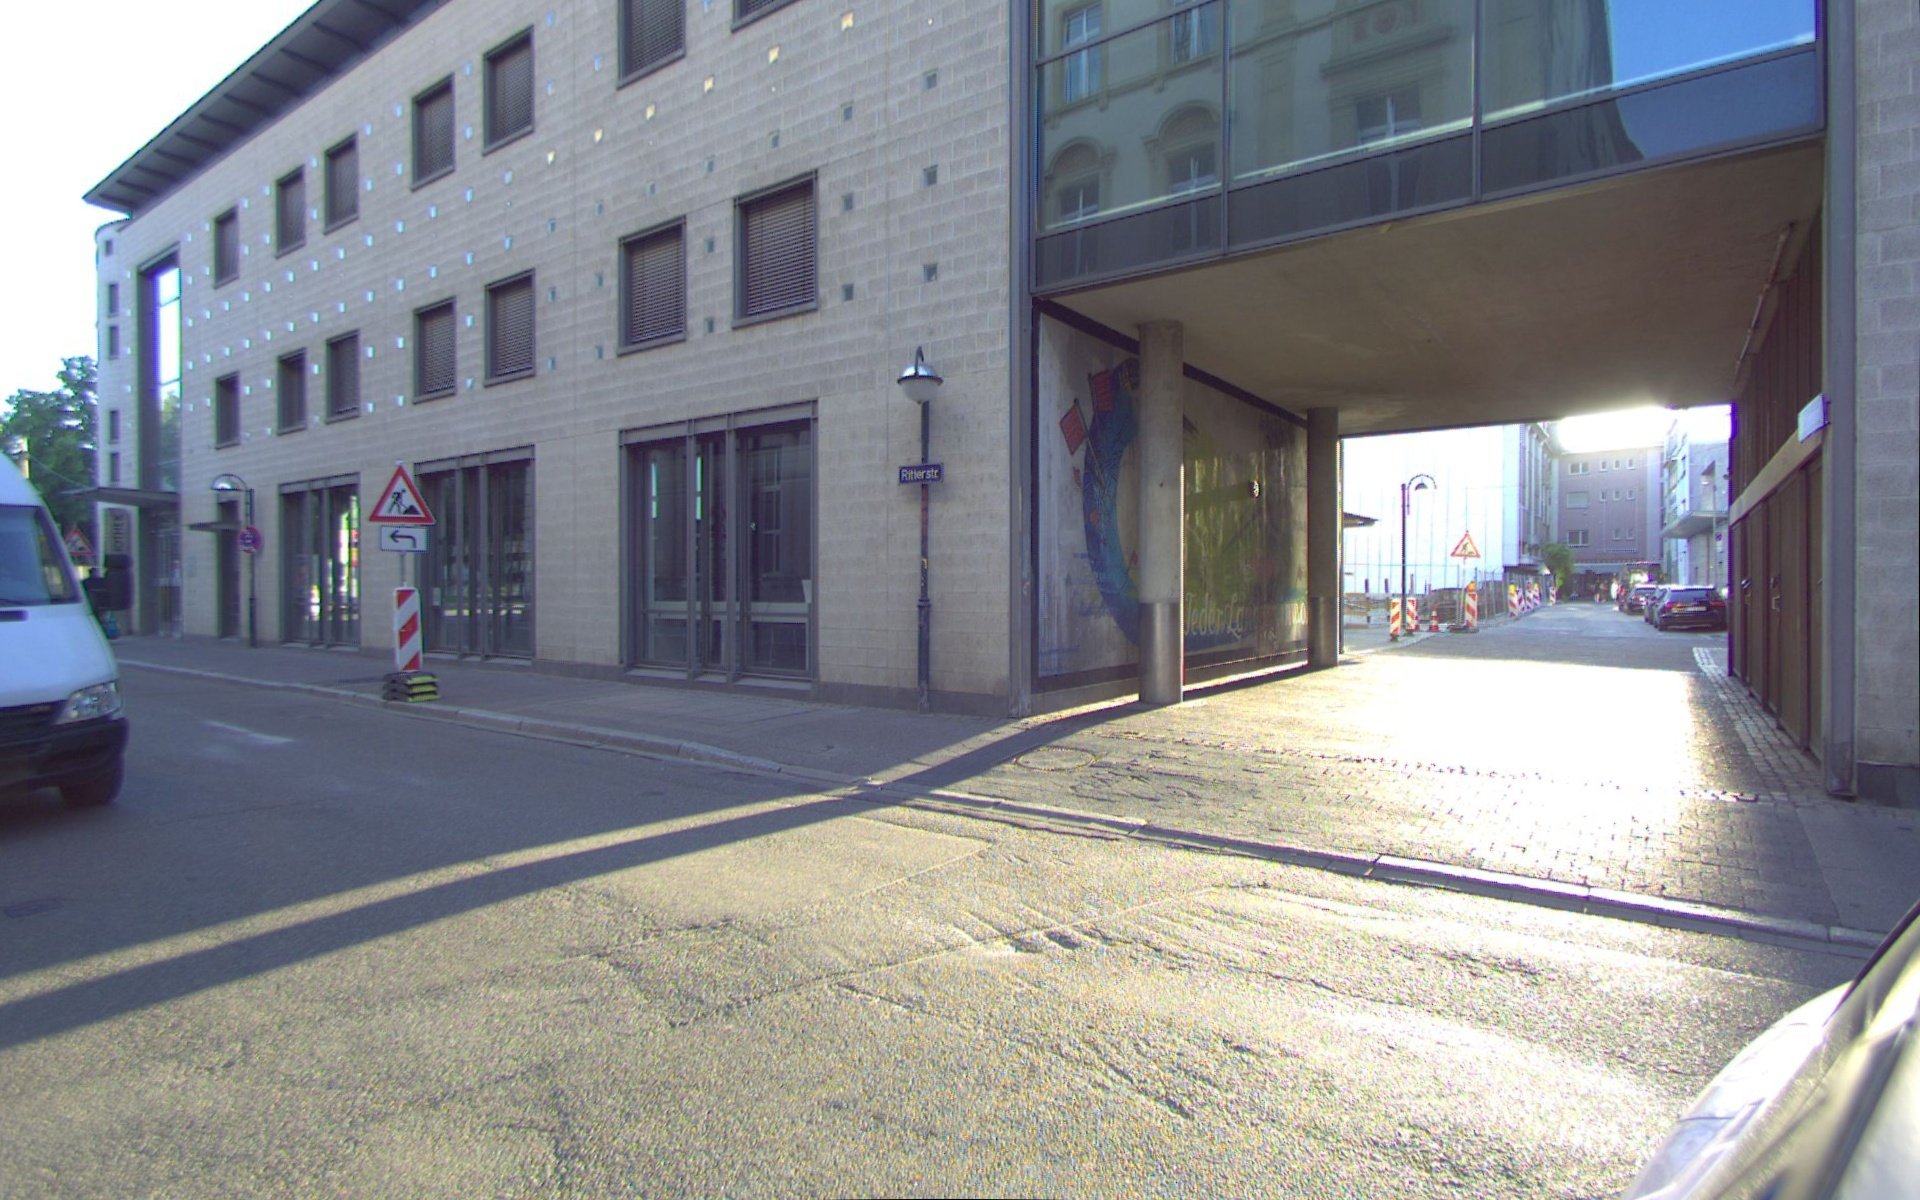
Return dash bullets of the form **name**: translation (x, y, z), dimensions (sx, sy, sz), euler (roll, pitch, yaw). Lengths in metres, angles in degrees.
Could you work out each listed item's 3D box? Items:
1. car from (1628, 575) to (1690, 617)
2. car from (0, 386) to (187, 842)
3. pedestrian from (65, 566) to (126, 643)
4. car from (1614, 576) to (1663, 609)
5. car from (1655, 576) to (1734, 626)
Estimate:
- **car**: translation (26.923, -0.185, 39.071), dimensions (1.587, 1.512, 3.411), euler (0, 1, 28)
- **car**: translation (-8.107, 0.049, 7.326), dimensions (6.425, 2.542, 1.979), euler (1, 4, 34)
- **pedestrian**: translation (-19.955, 0.096, 23.366), dimensions (0.864, 1.723, 0.913), euler (0, 1, 37)
- **car**: translation (32.476, -0.395, 48.508), dimensions (1.587, 1.512, 3.411), euler (0, 1, 28)
- **car**: translation (23.440, -0.018, 32.399), dimensions (1.587, 1.512, 3.411), euler (0, 1, 28)
